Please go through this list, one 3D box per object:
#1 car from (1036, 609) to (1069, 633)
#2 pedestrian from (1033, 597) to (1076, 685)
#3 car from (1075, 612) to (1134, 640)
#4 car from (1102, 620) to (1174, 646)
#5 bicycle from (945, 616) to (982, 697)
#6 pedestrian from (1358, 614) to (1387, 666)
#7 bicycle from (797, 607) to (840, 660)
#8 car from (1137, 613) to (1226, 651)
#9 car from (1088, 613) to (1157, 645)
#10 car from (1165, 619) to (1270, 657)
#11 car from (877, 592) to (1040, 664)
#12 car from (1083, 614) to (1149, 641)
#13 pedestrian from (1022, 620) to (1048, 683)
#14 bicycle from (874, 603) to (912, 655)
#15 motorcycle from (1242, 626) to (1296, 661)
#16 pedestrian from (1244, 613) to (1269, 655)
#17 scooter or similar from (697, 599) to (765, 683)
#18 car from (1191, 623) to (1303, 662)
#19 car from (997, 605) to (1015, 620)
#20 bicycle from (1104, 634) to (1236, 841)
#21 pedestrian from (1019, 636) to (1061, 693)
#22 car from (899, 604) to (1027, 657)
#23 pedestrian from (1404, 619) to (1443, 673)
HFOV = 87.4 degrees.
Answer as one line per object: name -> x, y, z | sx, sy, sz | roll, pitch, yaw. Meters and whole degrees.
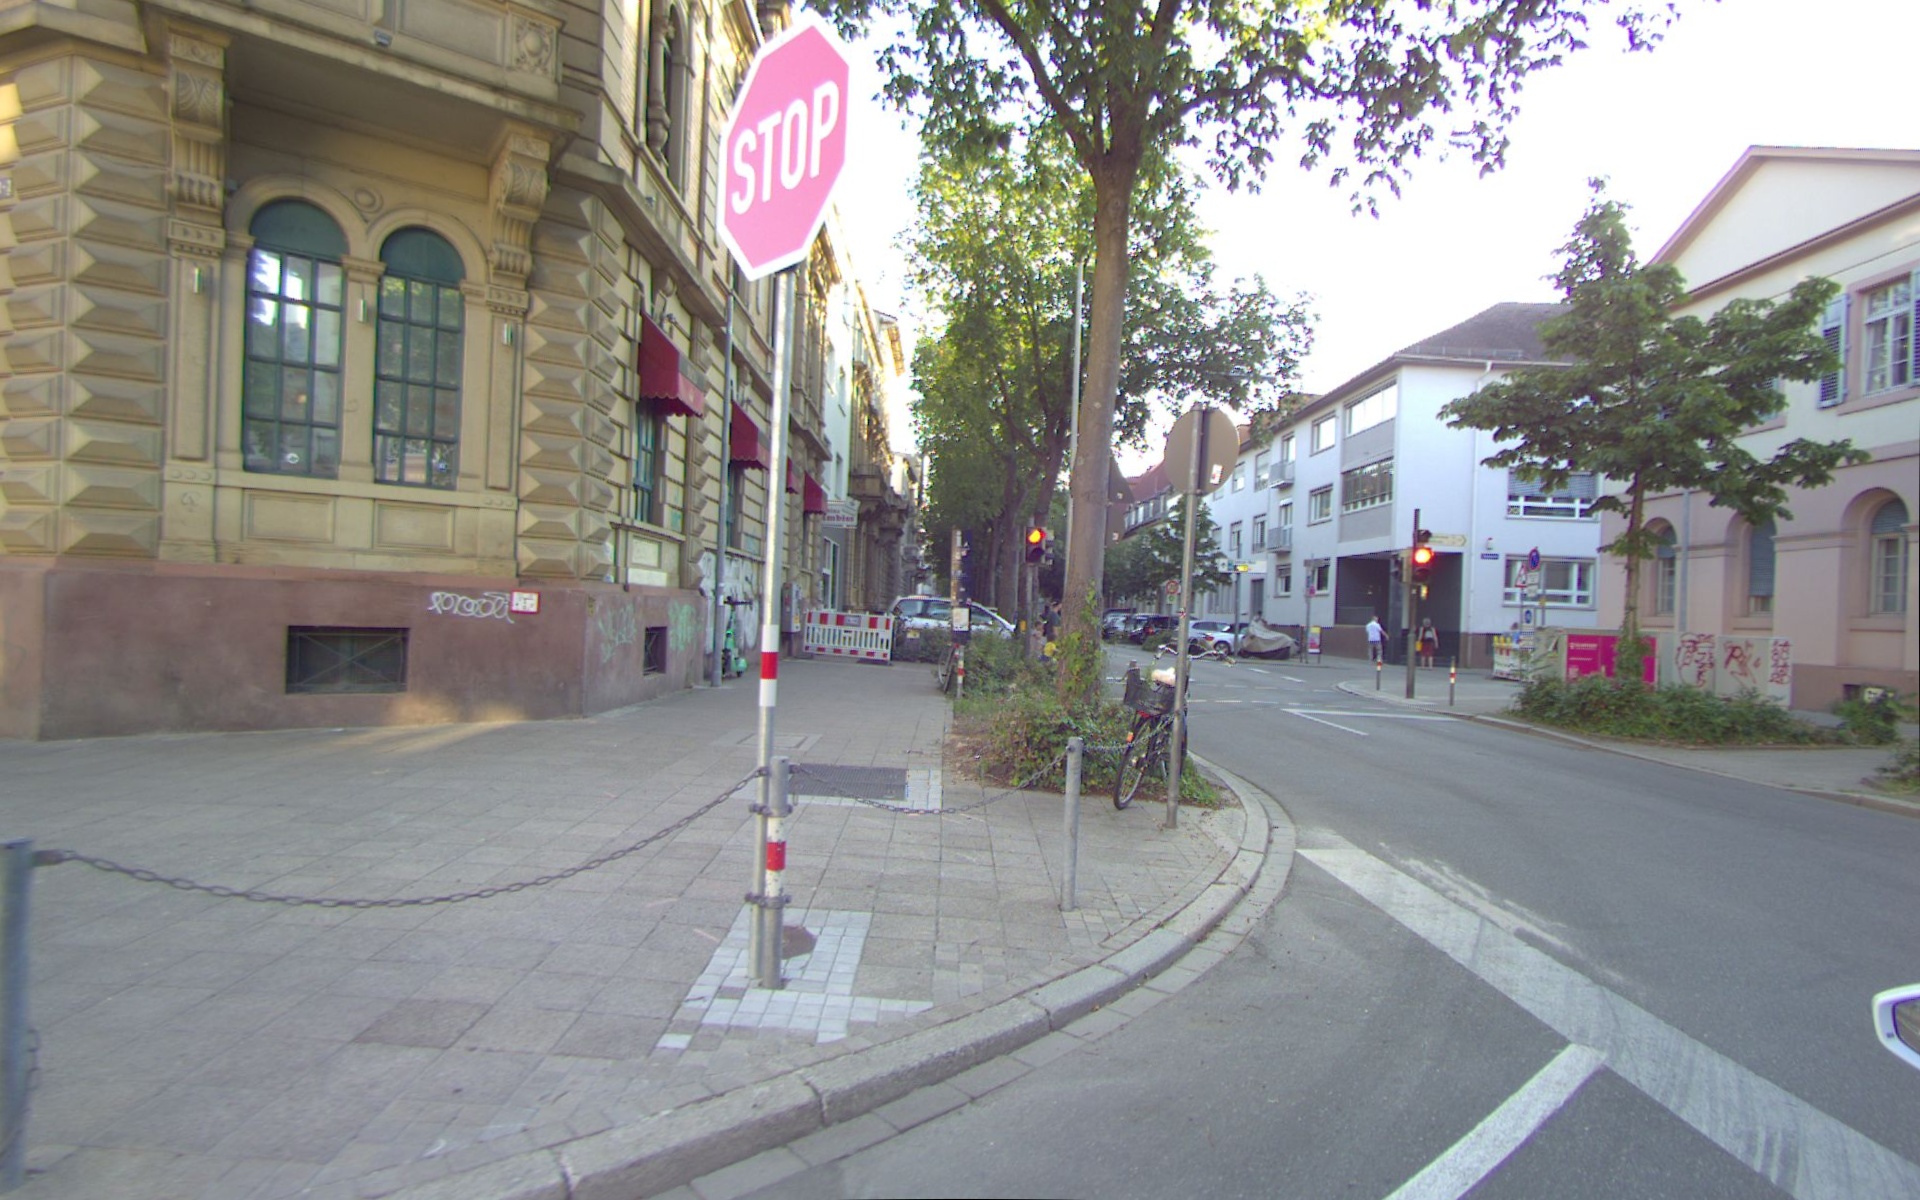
car -> 6.459, 1.464, 70.644 | 1.796, 1.582, 4.027 | 4, -1, -2
pedestrian -> 2.063, 0.883, 21.976 | 0.873, 1.839, 0.794 | 2, 0, 4
car -> 10.394, 1.881, 72.495 | 3.949, 1.854, 1.707 | 3, -1, -1
car -> 10.619, 1.974, 60.052 | 3.948, 1.428, 1.707 | 2, -1, -1
bicycle -> 0.040, 0.879, 16.354 | 0.502, 1.168, 2.101 | 4, 0, -1
pedestrian -> 14.597, 1.418, 35.595 | 0.692, 1.775, 0.700 | 3, 0, 3
bicycle -> -3.476, 0.793, 24.812 | 0.626, 1.217, 2.564 | 2, -1, 1
car -> 10.745, 1.537, 48.891 | 3.948, 1.713, 1.707 | 2, -1, -1
car -> 10.064, 1.813, 62.350 | 3.948, 1.839, 1.707 | 2, -1, -1
car -> 10.811, 1.596, 42.378 | 3.948, 1.461, 1.707 | 2, -1, -1
car -> -0.085, 0.789, 28.839 | 4.475, 1.859, 1.832 | 2, -1, -4
car -> 10.089, 1.744, 65.195 | 3.949, 1.550, 1.707 | 3, -1, -1
pedestrian -> 1.680, 1.145, 22.520 | 0.530, 1.353, 0.506 | 3, 0, 4
bicycle -> -1.665, 0.711, 25.344 | 0.722, 1.202, 2.634 | 4, -1, 0
motorcycle -> 11.238, 1.582, 36.593 | 1.769, 1.215, 0.613 | 2, 0, 8
pedestrian -> 13.570, 1.554, 45.971 | 0.754, 1.865, 0.943 | 3, 0, 0
scooter or similar -> -3.444, 0.605, 15.193 | 0.431, 1.183, 1.288 | 4, -1, 11
car -> 11.300, 1.660, 39.723 | 3.948, 1.360, 1.707 | 2, -1, 0
car -> 5.719, 1.558, 124.721 | 1.893, 1.682, 4.000 | 2, -1, -1
bicycle -> 1.691, 0.945, 7.907 | 0.829, 1.284, 2.574 | 1, -1, 14
pedestrian -> 1.689, 1.358, 21.282 | 0.820, 1.136, 0.567 | 3, 0, 4
car -> 0.121, 1.079, 36.390 | 4.473, 1.711, 1.833 | 2, -1, 0
pedestrian -> 15.847, 1.548, 34.366 | 0.914, 1.775, 0.771 | 3, 0, 4
